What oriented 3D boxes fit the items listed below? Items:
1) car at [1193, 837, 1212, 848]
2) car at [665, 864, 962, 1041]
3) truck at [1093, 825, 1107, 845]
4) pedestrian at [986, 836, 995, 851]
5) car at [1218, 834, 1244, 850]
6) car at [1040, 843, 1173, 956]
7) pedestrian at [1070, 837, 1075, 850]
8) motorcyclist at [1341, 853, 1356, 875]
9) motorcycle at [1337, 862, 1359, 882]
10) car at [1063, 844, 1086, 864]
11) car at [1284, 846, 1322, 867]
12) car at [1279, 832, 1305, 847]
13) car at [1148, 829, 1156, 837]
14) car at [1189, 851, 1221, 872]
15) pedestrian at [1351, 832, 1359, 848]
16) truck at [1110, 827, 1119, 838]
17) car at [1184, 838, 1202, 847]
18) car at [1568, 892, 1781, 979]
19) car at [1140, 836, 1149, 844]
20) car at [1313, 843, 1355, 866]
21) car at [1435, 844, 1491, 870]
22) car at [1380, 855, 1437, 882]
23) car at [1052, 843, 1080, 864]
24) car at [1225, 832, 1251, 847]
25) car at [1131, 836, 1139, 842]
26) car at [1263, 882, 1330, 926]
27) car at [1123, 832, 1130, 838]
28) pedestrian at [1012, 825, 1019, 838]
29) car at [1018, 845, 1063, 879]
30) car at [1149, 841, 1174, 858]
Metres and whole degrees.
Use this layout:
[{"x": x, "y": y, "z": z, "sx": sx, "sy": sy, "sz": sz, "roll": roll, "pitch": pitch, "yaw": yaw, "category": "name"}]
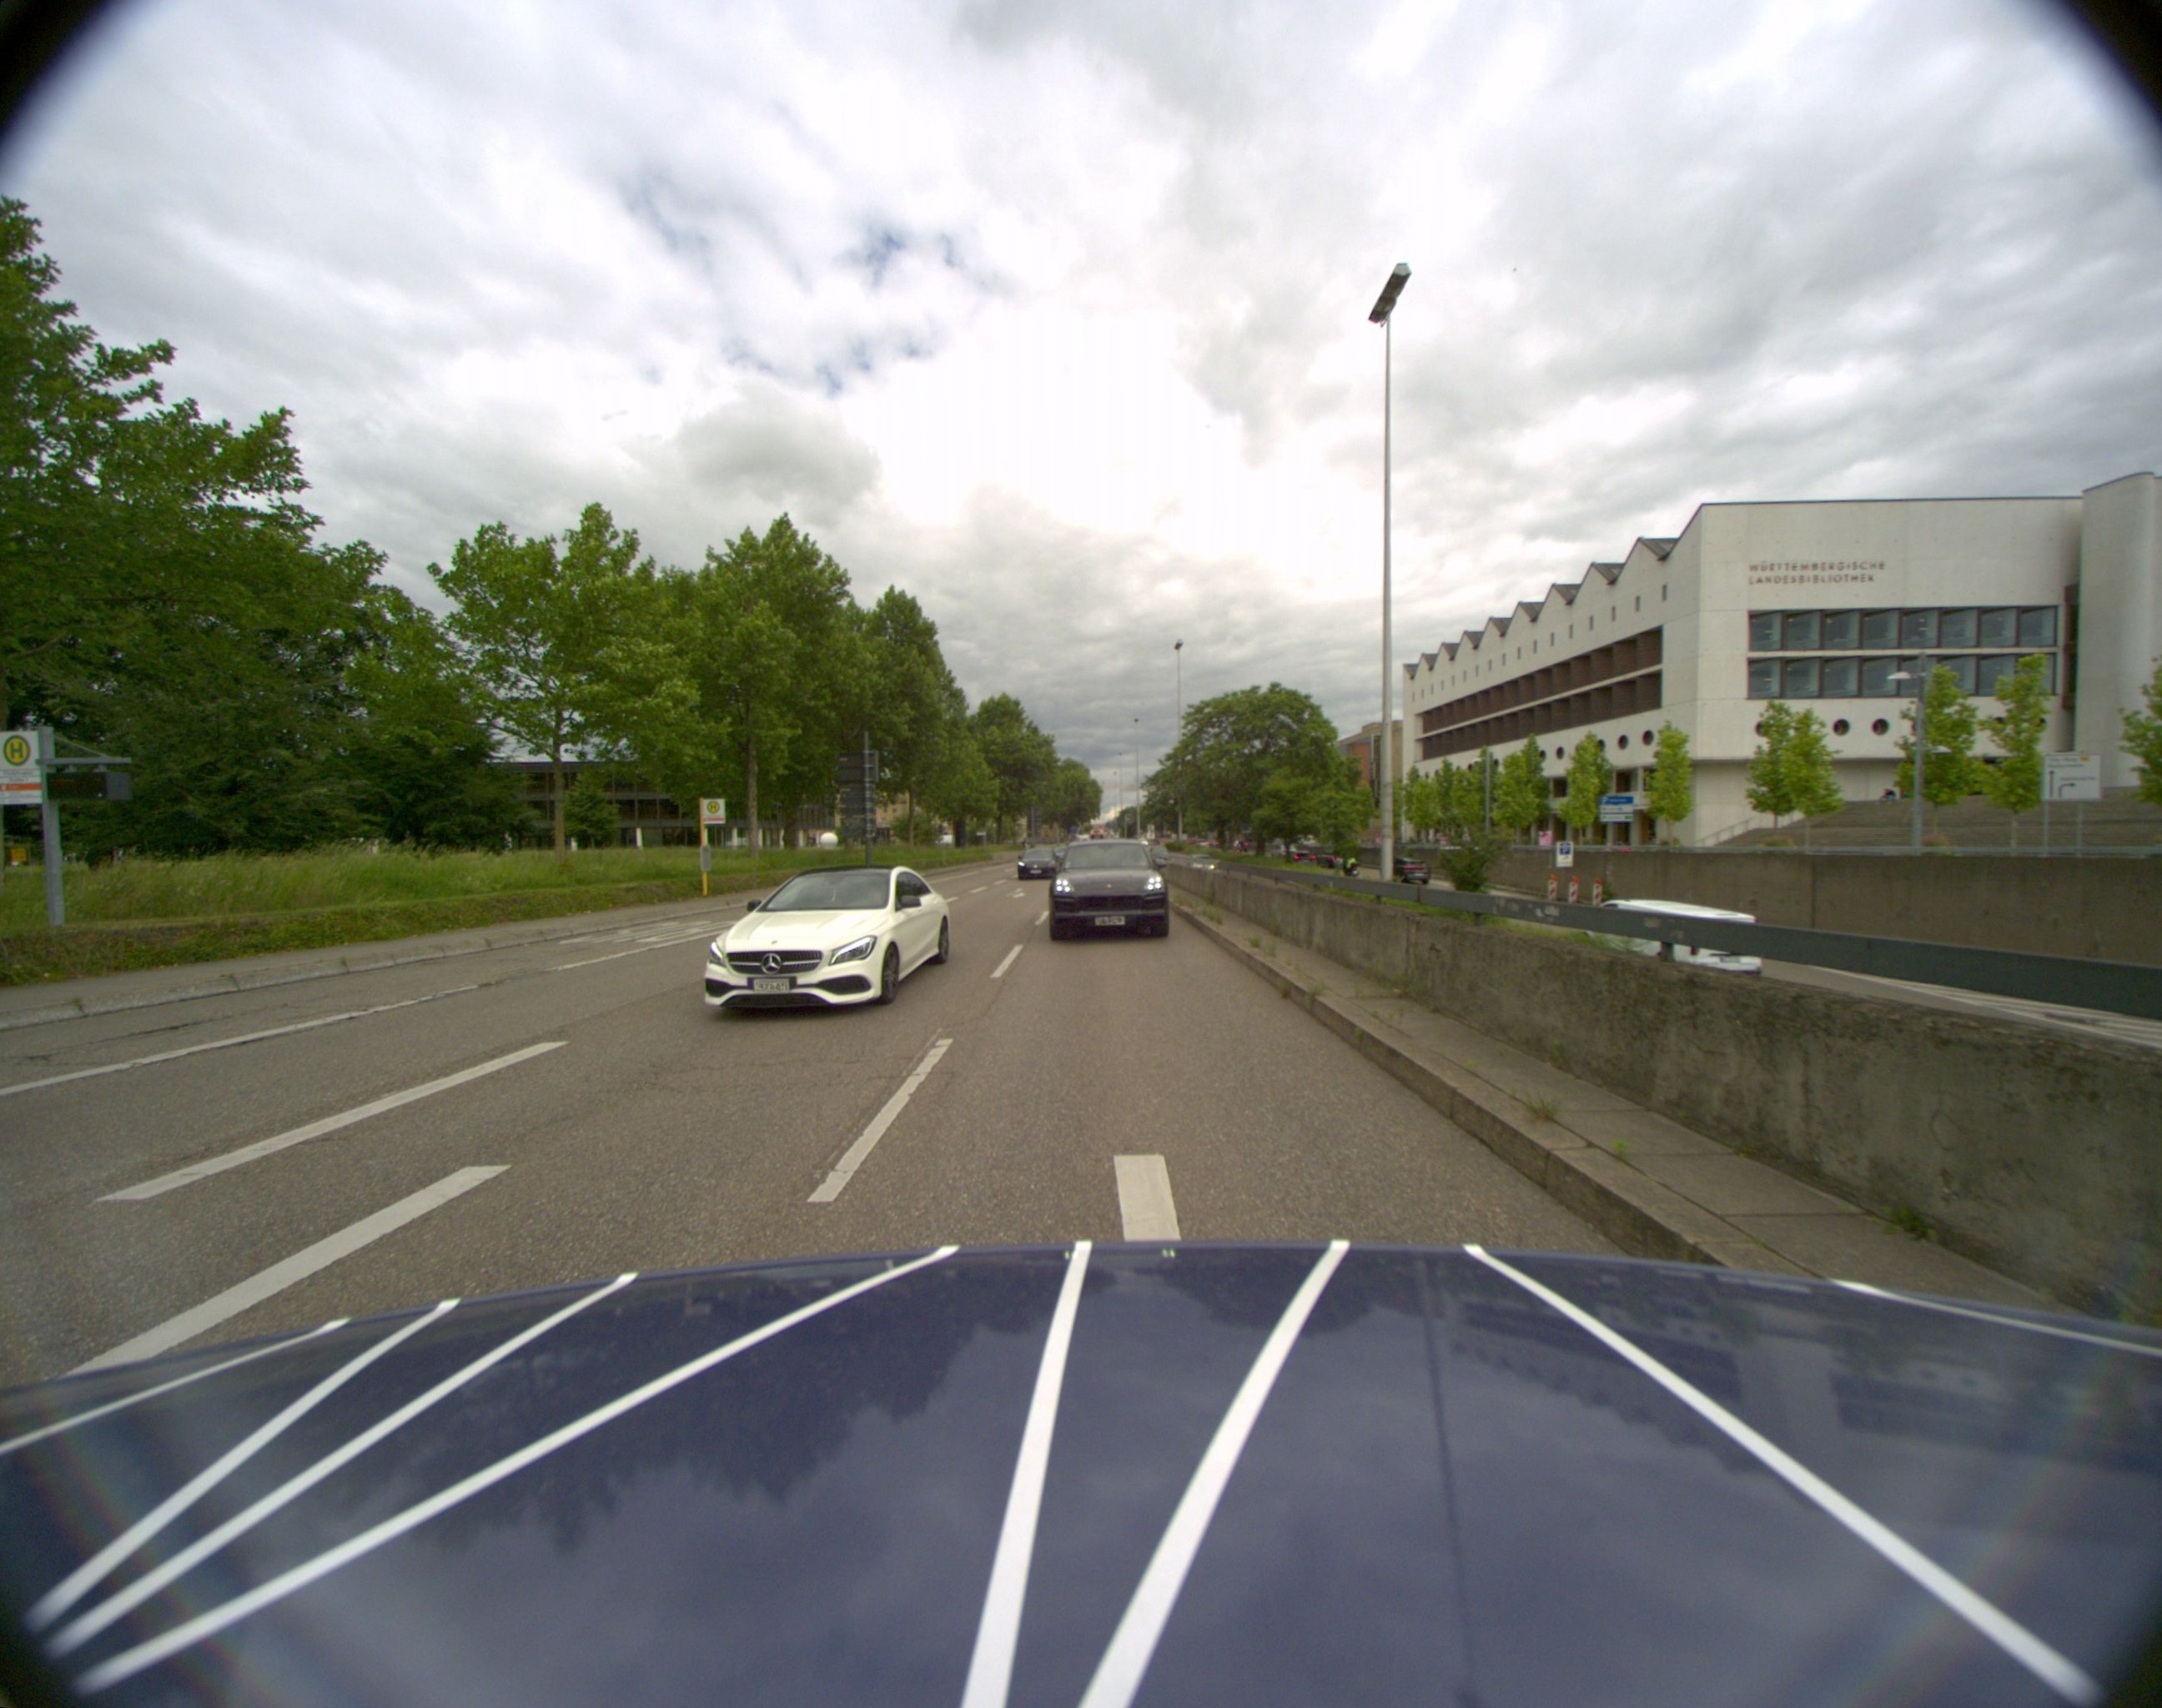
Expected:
[{"x": 16.737, "y": -1.578, "z": 104.642, "sx": 1.998, "sy": 1.390, "sz": 3.999, "roll": 2, "pitch": 1, "yaw": 0, "category": "car"}, {"x": -2.789, "y": 0.933, "z": 9.179, "sx": 1.799, "sy": 1.412, "sz": 4.526, "roll": -1, "pitch": 1, "yaw": 2, "category": "car"}, {"x": 3.668, "y": -3.701, "z": 145.547, "sx": 2.357, "sy": 3.518, "sz": 9.423, "roll": -3, "pitch": 2, "yaw": 2, "category": "truck"}, {"x": -12.212, "y": -1.456, "z": 102.563, "sx": 0.892, "sy": 2.002, "sz": 1.180, "roll": -3, "pitch": 2, "yaw": 2, "category": "pedestrian"}, {"x": 16.782, "y": -1.343, "z": 85.052, "sx": 1.998, "sy": 1.665, "sz": 4.516, "roll": 2, "pitch": 1, "yaw": 0, "category": "car"}, {"x": 0.499, "y": 0.634, "z": 13.482, "sx": 1.904, "sy": 1.581, "sz": 4.732, "roll": -1, "pitch": 1, "yaw": 3, "category": "car"}, {"x": -1.402, "y": -1.716, "z": 125.278, "sx": 0.792, "sy": 2.002, "sz": 0.741, "roll": -1, "pitch": 0, "yaw": 2, "category": "pedestrian"}, {"x": 17.727, "y": 0.668, "z": 50.307, "sx": 0.671, "sy": 1.345, "sz": 0.717, "roll": 3, "pitch": 4, "yaw": 0, "category": "motorcyclist"}, {"x": 17.700, "y": 1.162, "z": 50.341, "sx": 0.687, "sy": 1.092, "sz": 2.049, "roll": 2, "pitch": 4, "yaw": 0, "category": "motorcycle"}, {"x": -0.574, "y": -0.031, "z": 74.590, "sx": 2.021, "sy": 1.823, "sz": 4.804, "roll": -2, "pitch": 1, "yaw": 2, "category": "car"}, {"x": 17.897, "y": 0.174, "z": 61.404, "sx": 1.779, "sy": 1.481, "sz": 4.143, "roll": 0, "pitch": 4, "yaw": -1, "category": "car"}, {"x": 25.923, "y": -1.834, "z": 93.532, "sx": 1.998, "sy": 1.753, "sz": 3.999, "roll": 2, "pitch": 2, "yaw": 0, "category": "car"}, {"x": 17.564, "y": -5.169, "z": 187.165, "sx": 1.609, "sy": 1.844, "sz": 3.999, "roll": -3, "pitch": 2, "yaw": 1, "category": "car"}, {"x": 9.242, "y": 0.552, "z": 56.697, "sx": 1.657, "sy": 1.406, "sz": 4.091, "roll": -2, "pitch": 1, "yaw": 0, "category": "car"}, {"x": 35.881, "y": -1.879, "z": 99.473, "sx": 0.722, "sy": 2.002, "sz": 1.016, "roll": -3, "pitch": 2, "yaw": 2, "category": "pedestrian"}, {"x": 10.485, "y": -6.749, "z": 237.621, "sx": 2.576, "sy": 3.289, "sz": 8.078, "roll": -3, "pitch": 2, "yaw": 2, "category": "truck"}, {"x": 16.980, "y": -1.741, "z": 115.337, "sx": 1.998, "sy": 1.390, "sz": 3.999, "roll": 2, "pitch": 1, "yaw": 0, "category": "car"}, {"x": 17.190, "y": 2.268, "z": 22.472, "sx": 1.999, "sy": 1.630, "sz": 5.246, "roll": 4, "pitch": 3, "yaw": -1, "category": "car"}, {"x": 11.650, "y": -2.505, "z": 139.397, "sx": 1.372, "sy": 1.390, "sz": 3.721, "roll": 2, "pitch": 1, "yaw": 0, "category": "car"}, {"x": 20.753, "y": 0.026, "z": 62.542, "sx": 1.875, "sy": 1.604, "sz": 4.387, "roll": 0, "pitch": 4, "yaw": -2, "category": "car"}, {"x": 27.444, "y": 0.185, "z": 54.771, "sx": 1.998, "sy": 1.753, "sz": 3.999, "roll": 2, "pitch": 2, "yaw": 0, "category": "car"}, {"x": 20.725, "y": 0.878, "z": 48.281, "sx": 1.810, "sy": 1.321, "sz": 4.002, "roll": 0, "pitch": 4, "yaw": -1, "category": "car"}, {"x": -1.091, "y": -0.050, "z": 56.617, "sx": 1.805, "sy": 1.426, "sz": 4.015, "roll": -2, "pitch": 1, "yaw": 2, "category": "car"}, {"x": 19.959, "y": -1.853, "z": 96.813, "sx": 2.161, "sy": 1.636, "sz": 4.514, "roll": 1, "pitch": 3, "yaw": -1, "category": "car"}, {"x": 11.267, "y": -3.149, "z": 159.559, "sx": 1.372, "sy": 1.390, "sz": 3.721, "roll": 2, "pitch": 1, "yaw": 0, "category": "car"}, {"x": 8.796, "y": 2.004, "z": 31.377, "sx": 1.559, "sy": 1.406, "sz": 4.091, "roll": -2, "pitch": 1, "yaw": 0, "category": "car"}, {"x": 11.108, "y": -4.612, "z": 186.518, "sx": 1.372, "sy": 1.389, "sz": 3.722, "roll": -1, "pitch": -1, "yaw": -1, "category": "car"}, {"x": -10.539, "y": -3.578, "z": 122.090, "sx": 0.892, "sy": 2.002, "sz": 1.180, "roll": -3, "pitch": 2, "yaw": 2, "category": "pedestrian"}, {"x": -1.925, "y": 0.362, "z": 37.231, "sx": 1.852, "sy": 1.481, "sz": 4.092, "roll": -2, "pitch": 1, "yaw": 2, "category": "car"}, {"x": 7.403, "y": -0.439, "z": 69.933, "sx": 1.787, "sy": 1.406, "sz": 4.091, "roll": -2, "pitch": 1, "yaw": 0, "category": "car"}]
